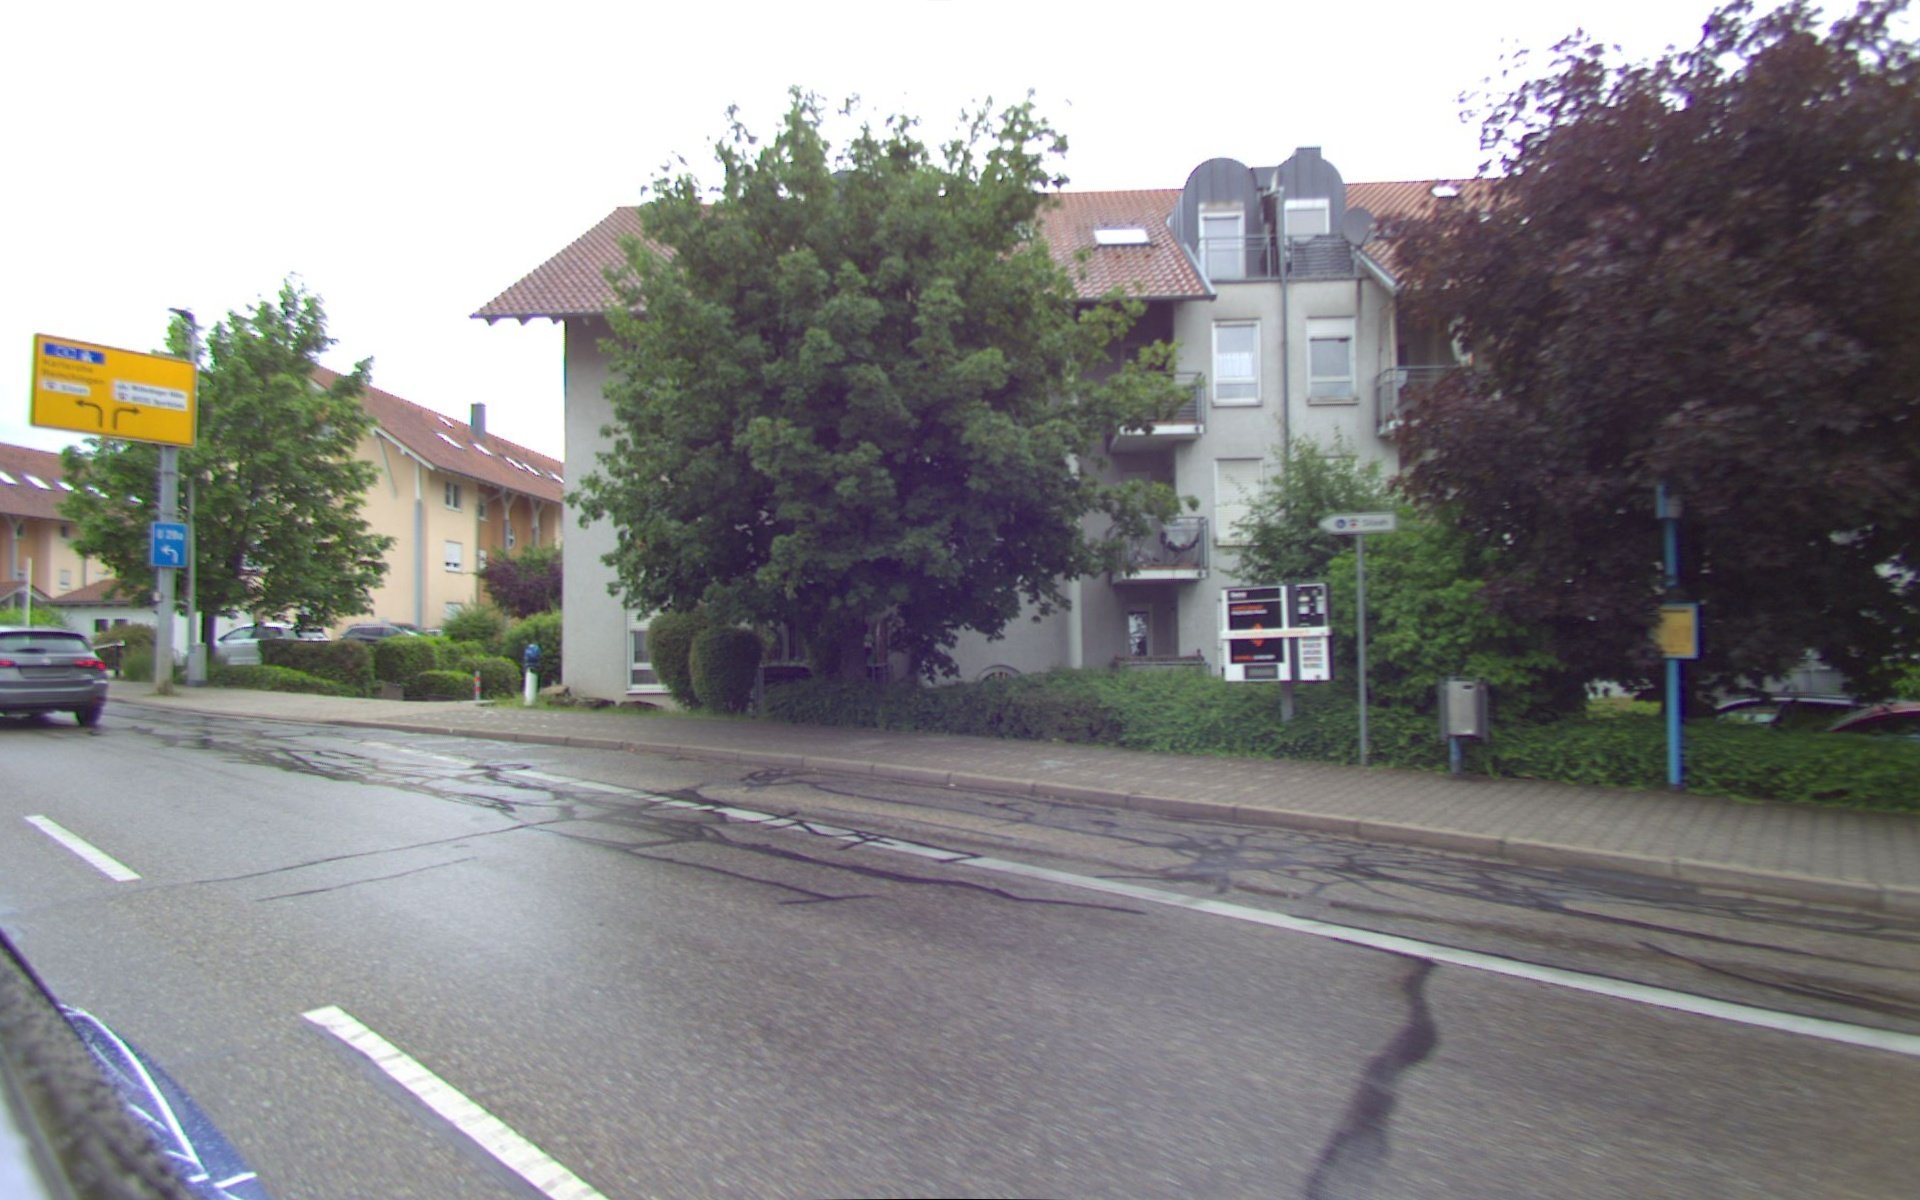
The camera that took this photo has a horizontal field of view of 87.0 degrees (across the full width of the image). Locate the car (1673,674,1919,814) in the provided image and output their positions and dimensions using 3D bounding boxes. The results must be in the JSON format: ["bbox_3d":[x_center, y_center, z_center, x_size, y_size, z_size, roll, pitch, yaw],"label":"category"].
[{"bbox_3d":[11.350,1.759,12.604,3.993,1.475,1.595,-1,-1,37],"label":"car"}]

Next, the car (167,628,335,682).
[{"bbox_3d":[-21.647,1.668,30.994,3.946,1.614,1.737,0,-2,2],"label":"car"}]

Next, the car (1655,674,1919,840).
[{"bbox_3d":[9.850,1.636,10.759,3.993,1.475,1.752,-1,-1,37],"label":"car"}]

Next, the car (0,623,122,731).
[{"bbox_3d":[-14.739,1.138,15.536,4.239,1.485,1.761,-2,-3,35],"label":"car"}]

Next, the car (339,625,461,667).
[{"bbox_3d":[-19.366,1.586,35.073,3.393,1.392,1.515,0,-2,2],"label":"car"}]
